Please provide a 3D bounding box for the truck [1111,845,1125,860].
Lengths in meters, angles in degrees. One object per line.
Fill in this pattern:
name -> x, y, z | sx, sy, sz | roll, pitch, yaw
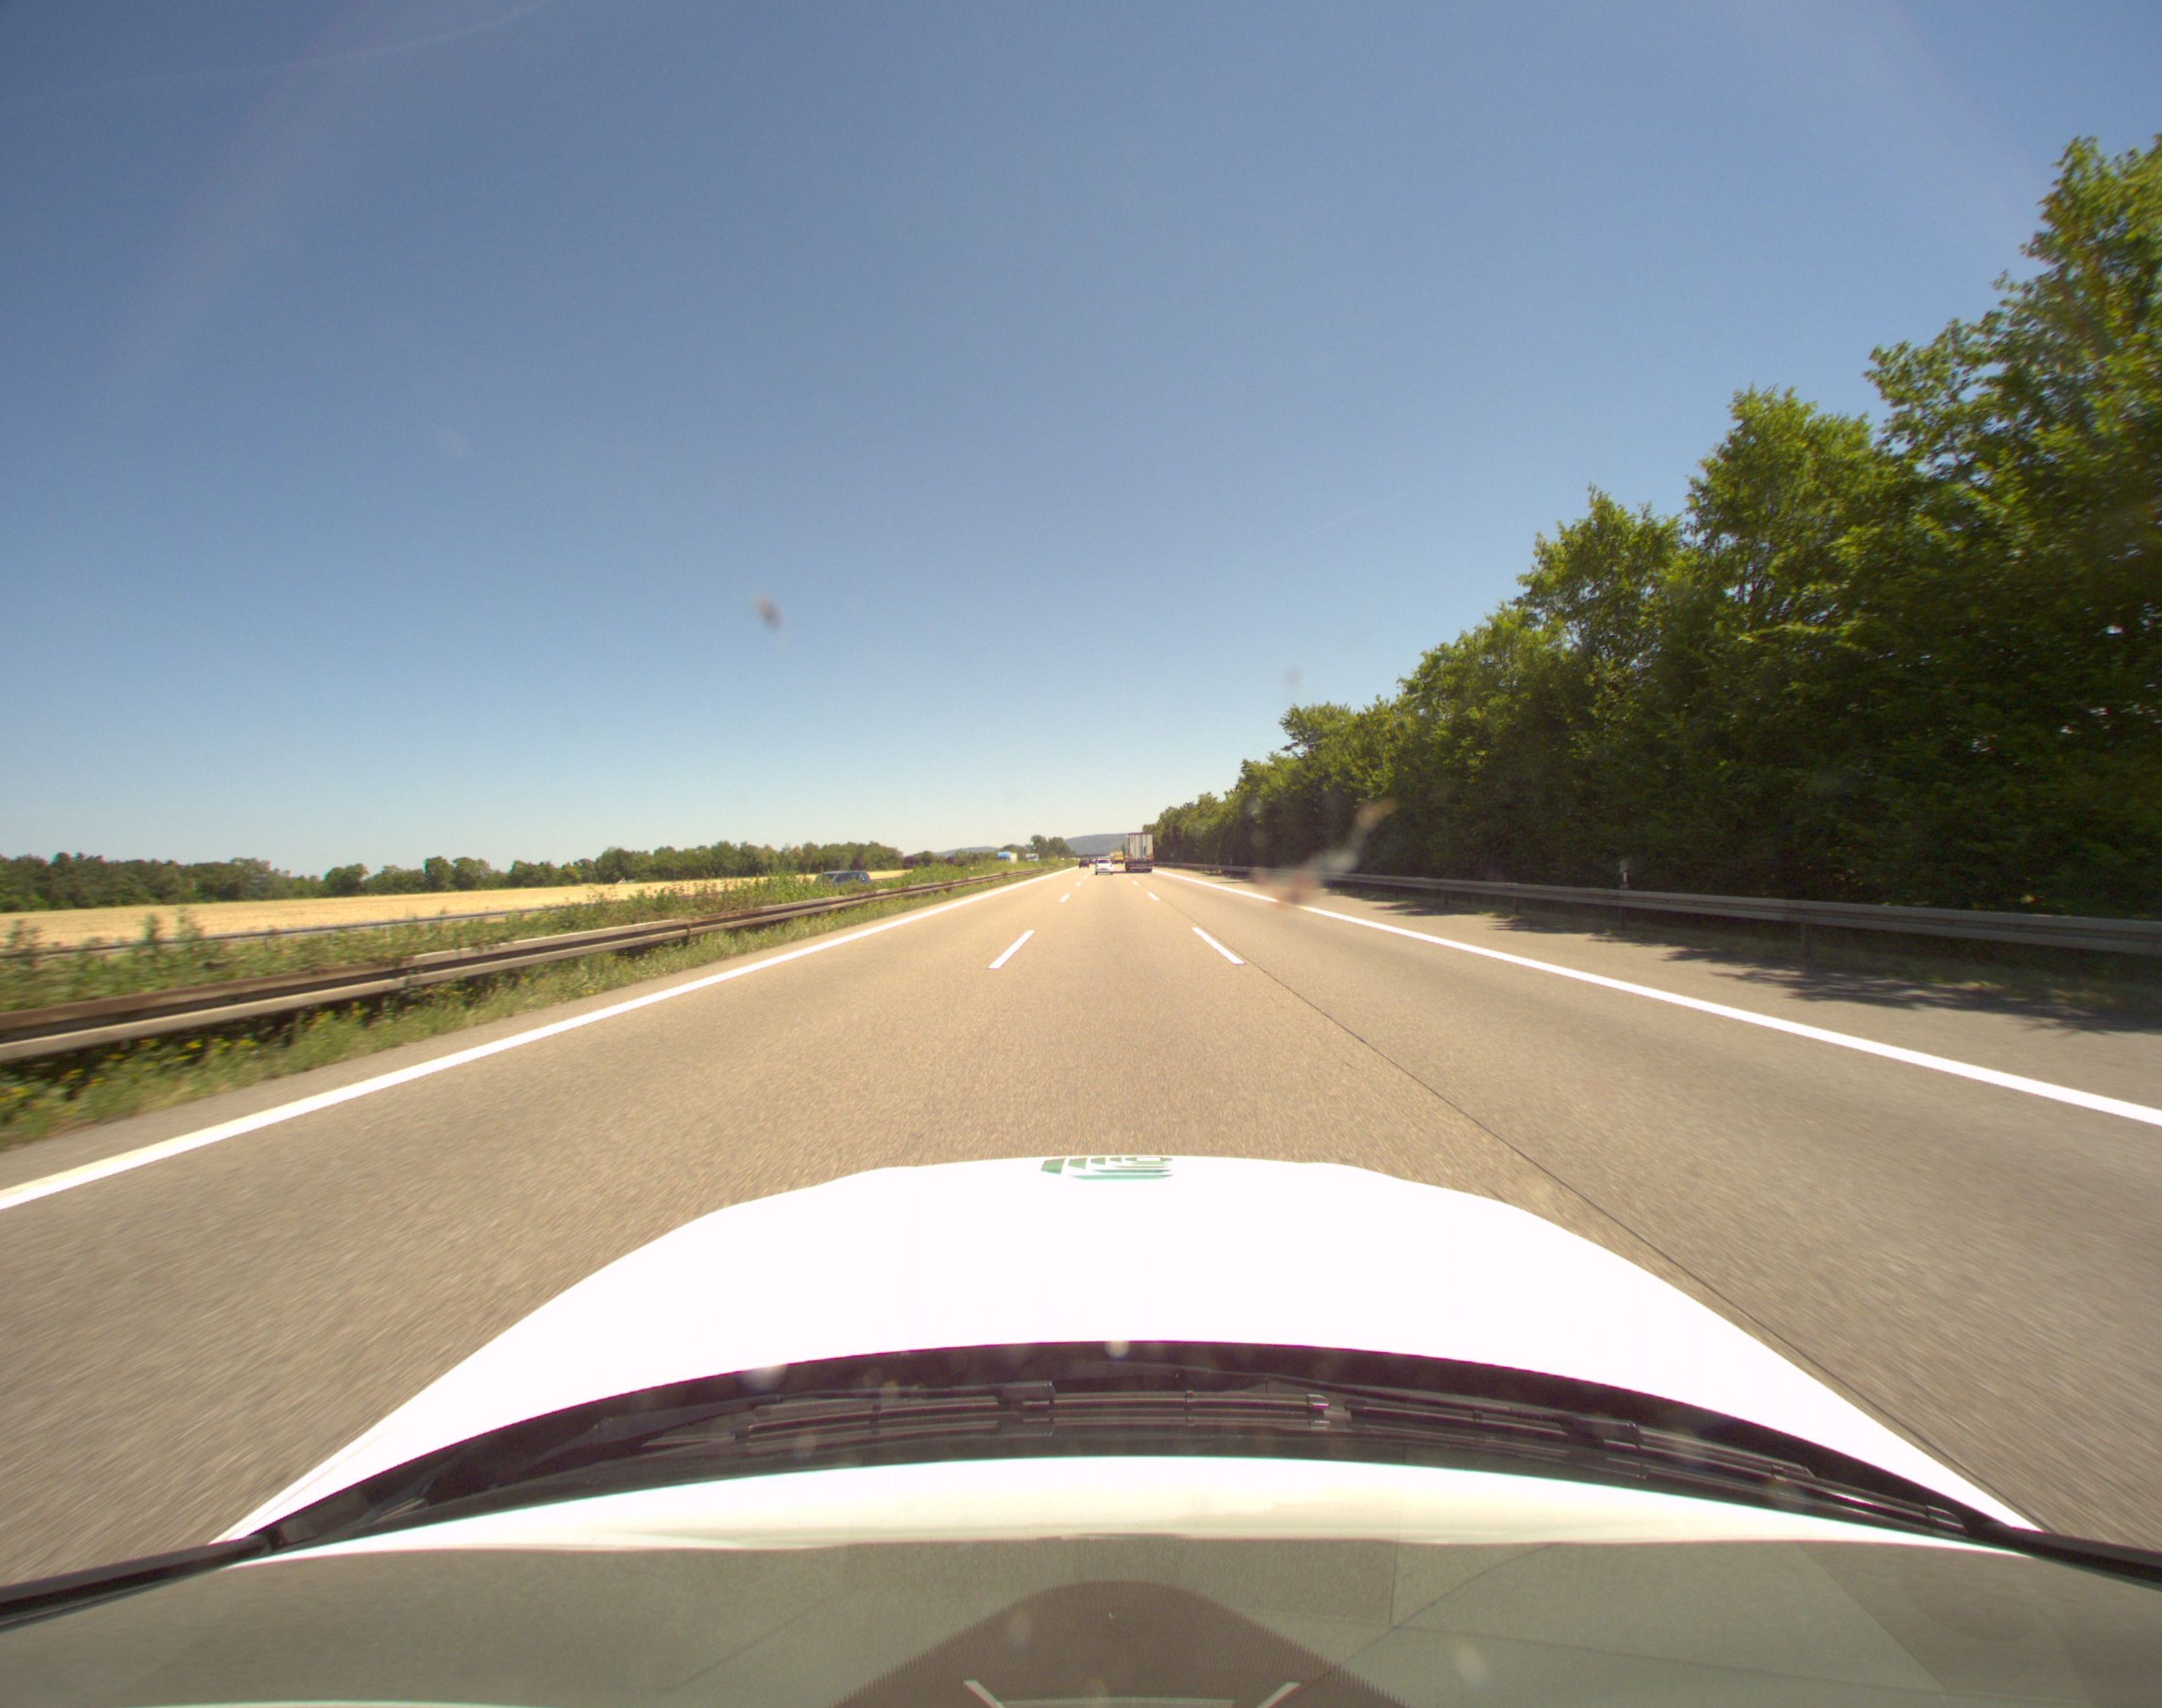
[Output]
truck -> 10.595, -0.397, 236.177 | 3.857, 4.345, 13.864 | -1, 0, 2

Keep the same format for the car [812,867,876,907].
car -> -11.800, 1.620, 40.867 | 1.868, 1.778, 4.002 | -3, 0, 2

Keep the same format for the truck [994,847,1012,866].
truck -> -16.006, 0.527, 167.474 | 3.098, 3.699, 5.200 | -1, 0, 2

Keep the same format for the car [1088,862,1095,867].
car -> 3.077, 3.052, 237.394 | 1.789, 1.551, 4.001 | -1, -1, 1

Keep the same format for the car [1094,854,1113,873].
car -> 2.145, 0.922, 78.208 | 1.726, 1.684, 4.000 | -2, 0, 1

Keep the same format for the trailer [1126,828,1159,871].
trailer -> 6.610, -0.404, 88.980 | 3.204, 4.345, 13.640 | -1, 0, 3

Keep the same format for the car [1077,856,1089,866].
car -> 0.344, 1.272, 143.324 | 1.987, 1.712, 4.000 | -1, 0, 1

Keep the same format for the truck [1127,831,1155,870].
truck -> 7.049, -0.379, 96.405 | 3.204, 4.345, 6.596 | -1, 0, 3
